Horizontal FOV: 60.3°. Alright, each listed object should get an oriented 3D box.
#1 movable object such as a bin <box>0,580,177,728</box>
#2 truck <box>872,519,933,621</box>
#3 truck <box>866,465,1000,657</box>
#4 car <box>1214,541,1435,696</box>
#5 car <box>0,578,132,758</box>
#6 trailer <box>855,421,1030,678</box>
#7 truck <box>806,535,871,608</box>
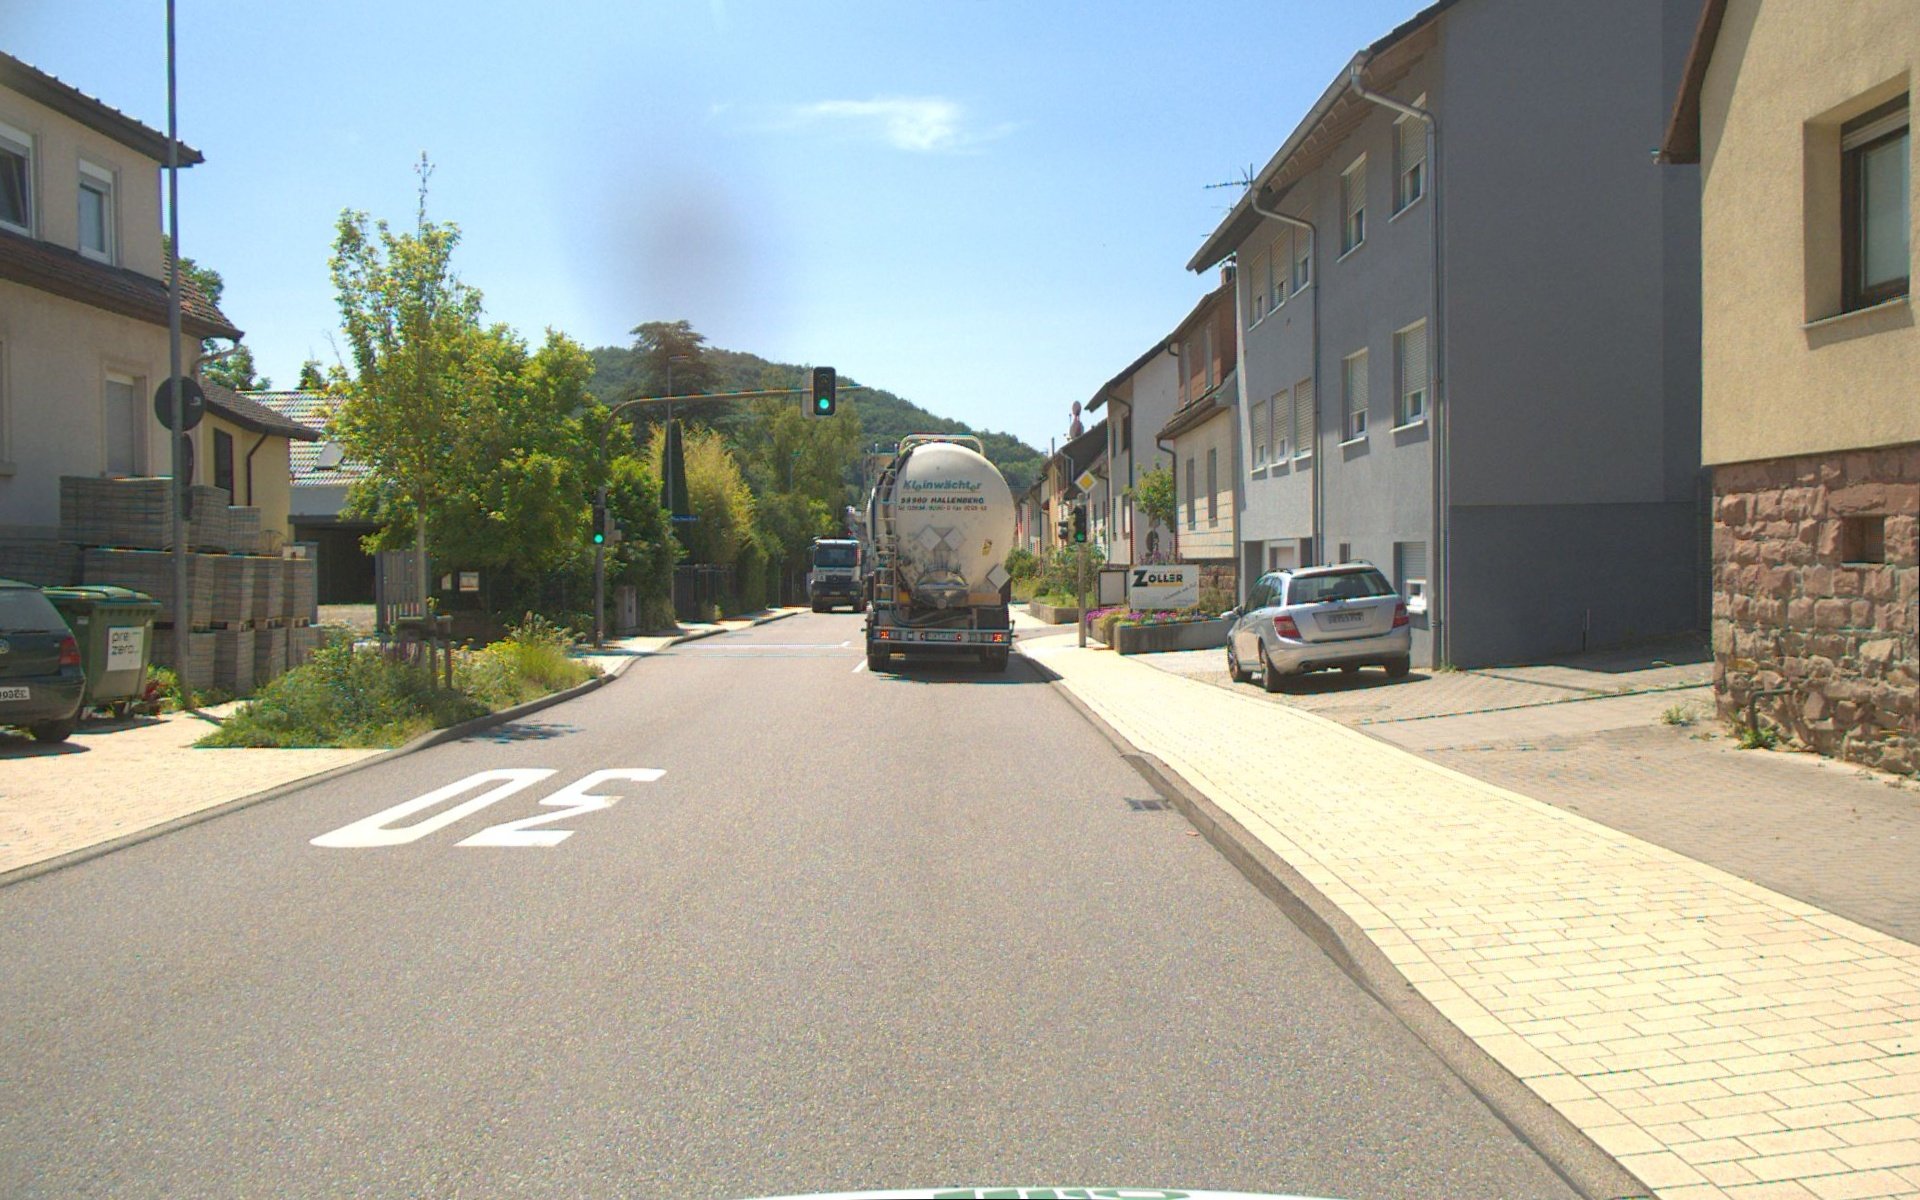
[{"bbox_3d":[-8.640,0.509,16.463,0.968,1.342,1.405,1,3,3],"label":"movable object such as a bin"},{"bbox_3d":[-2.799,-1.425,83.017,2.789,4.760,11.337,0,0,-1],"label":"truck"},{"bbox_3d":[-0.687,-0.844,38.072,2.752,4.005,6.096,1,0,-2],"label":"truck"},{"bbox_3d":[4.506,0.194,21.145,1.755,1.567,4.520,-7,0,1],"label":"car"},{"bbox_3d":[-9.092,0.545,14.634,3.478,1.464,1.693,0,0,34],"label":"car"},{"bbox_3d":[-0.456,-0.839,31.608,2.740,4.071,10.320,1,0,-2],"label":"trailer"},{"bbox_3d":[-5.987,-1.391,82.682,2.673,3.430,8.633,1,0,-1],"label":"truck"}]
